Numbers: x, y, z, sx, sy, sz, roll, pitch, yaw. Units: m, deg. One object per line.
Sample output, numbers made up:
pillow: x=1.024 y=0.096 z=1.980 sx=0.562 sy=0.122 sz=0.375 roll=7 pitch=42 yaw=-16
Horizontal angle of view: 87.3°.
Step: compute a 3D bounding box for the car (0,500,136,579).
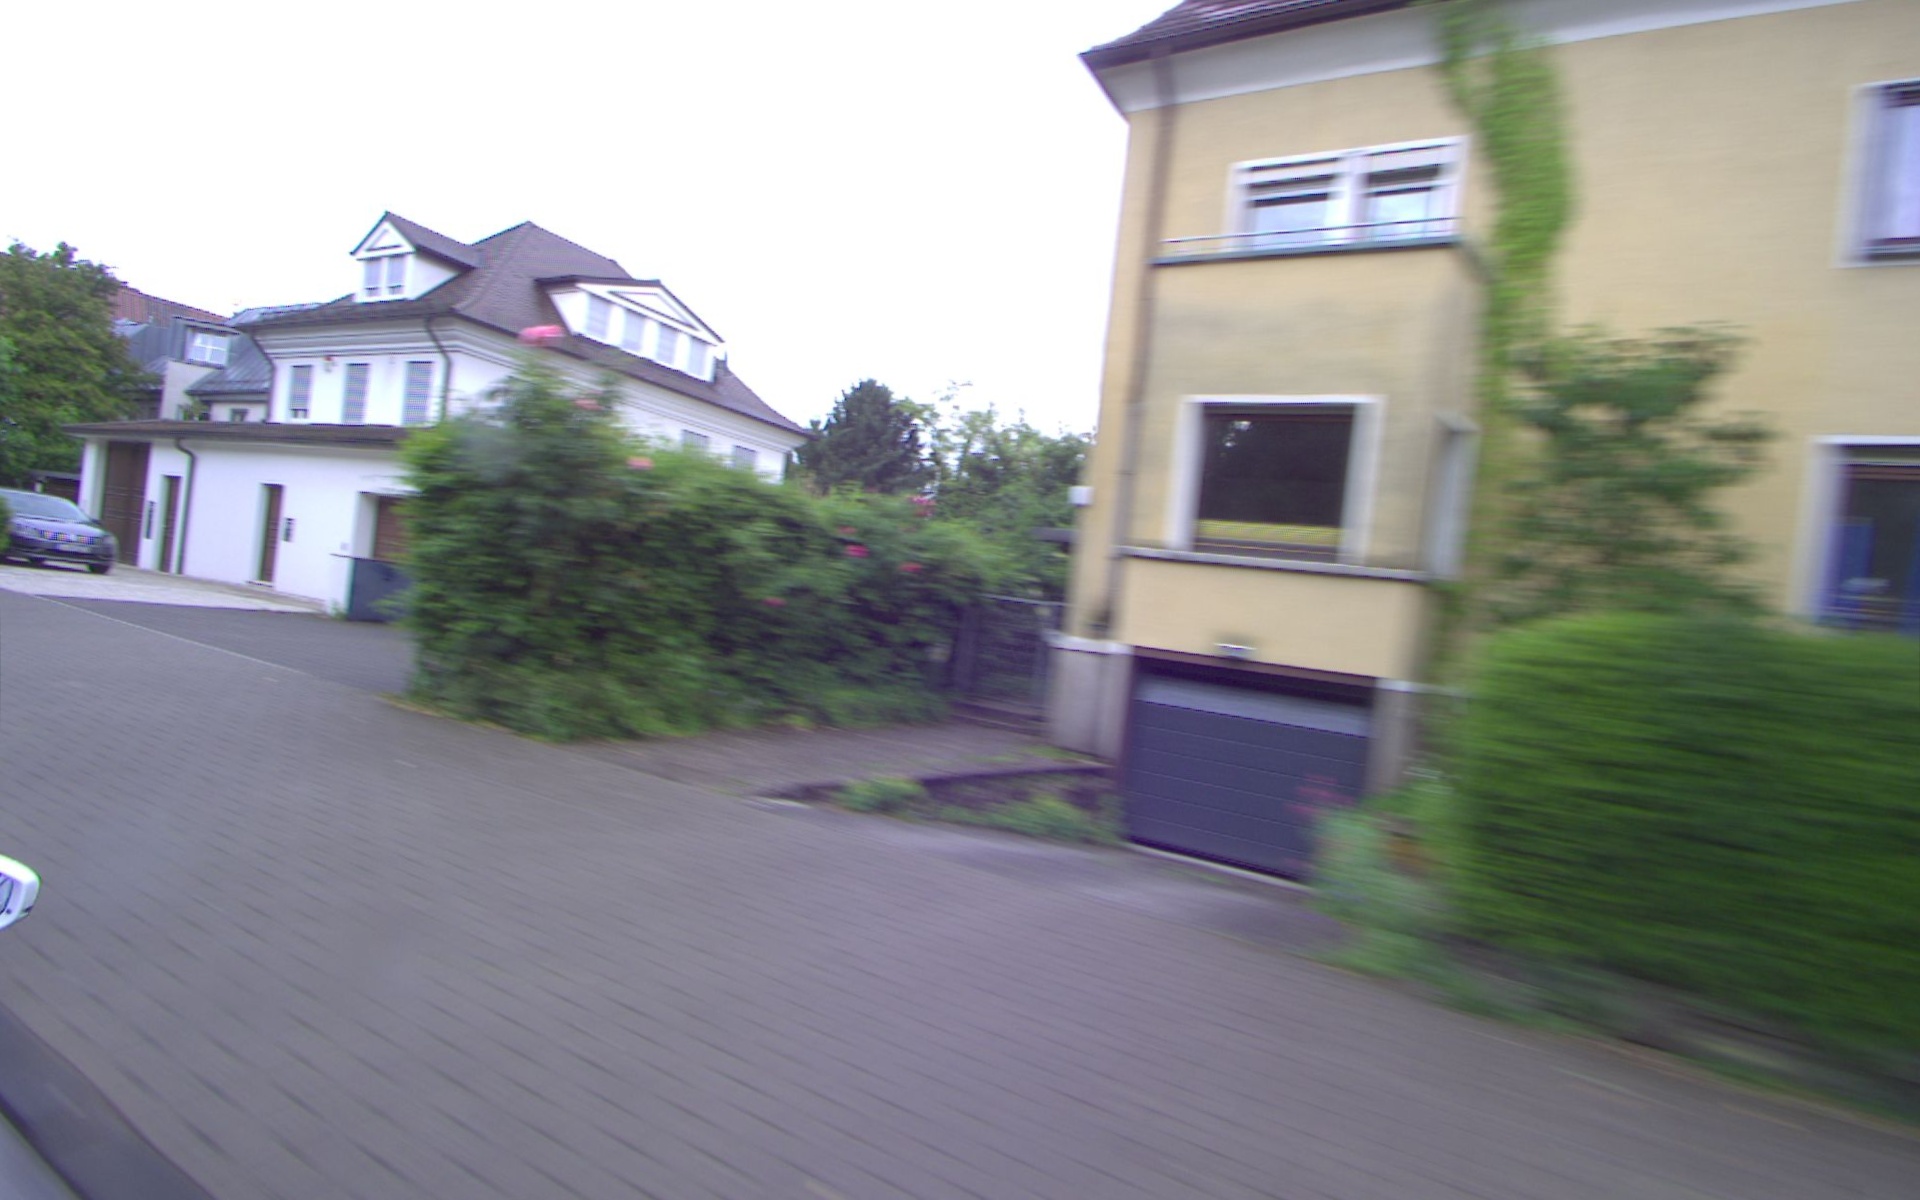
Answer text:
car: x=-18.277 y=-1.280 z=19.967 sx=3.936 sy=1.190 sz=1.834 roll=6 pitch=-2 yaw=34
